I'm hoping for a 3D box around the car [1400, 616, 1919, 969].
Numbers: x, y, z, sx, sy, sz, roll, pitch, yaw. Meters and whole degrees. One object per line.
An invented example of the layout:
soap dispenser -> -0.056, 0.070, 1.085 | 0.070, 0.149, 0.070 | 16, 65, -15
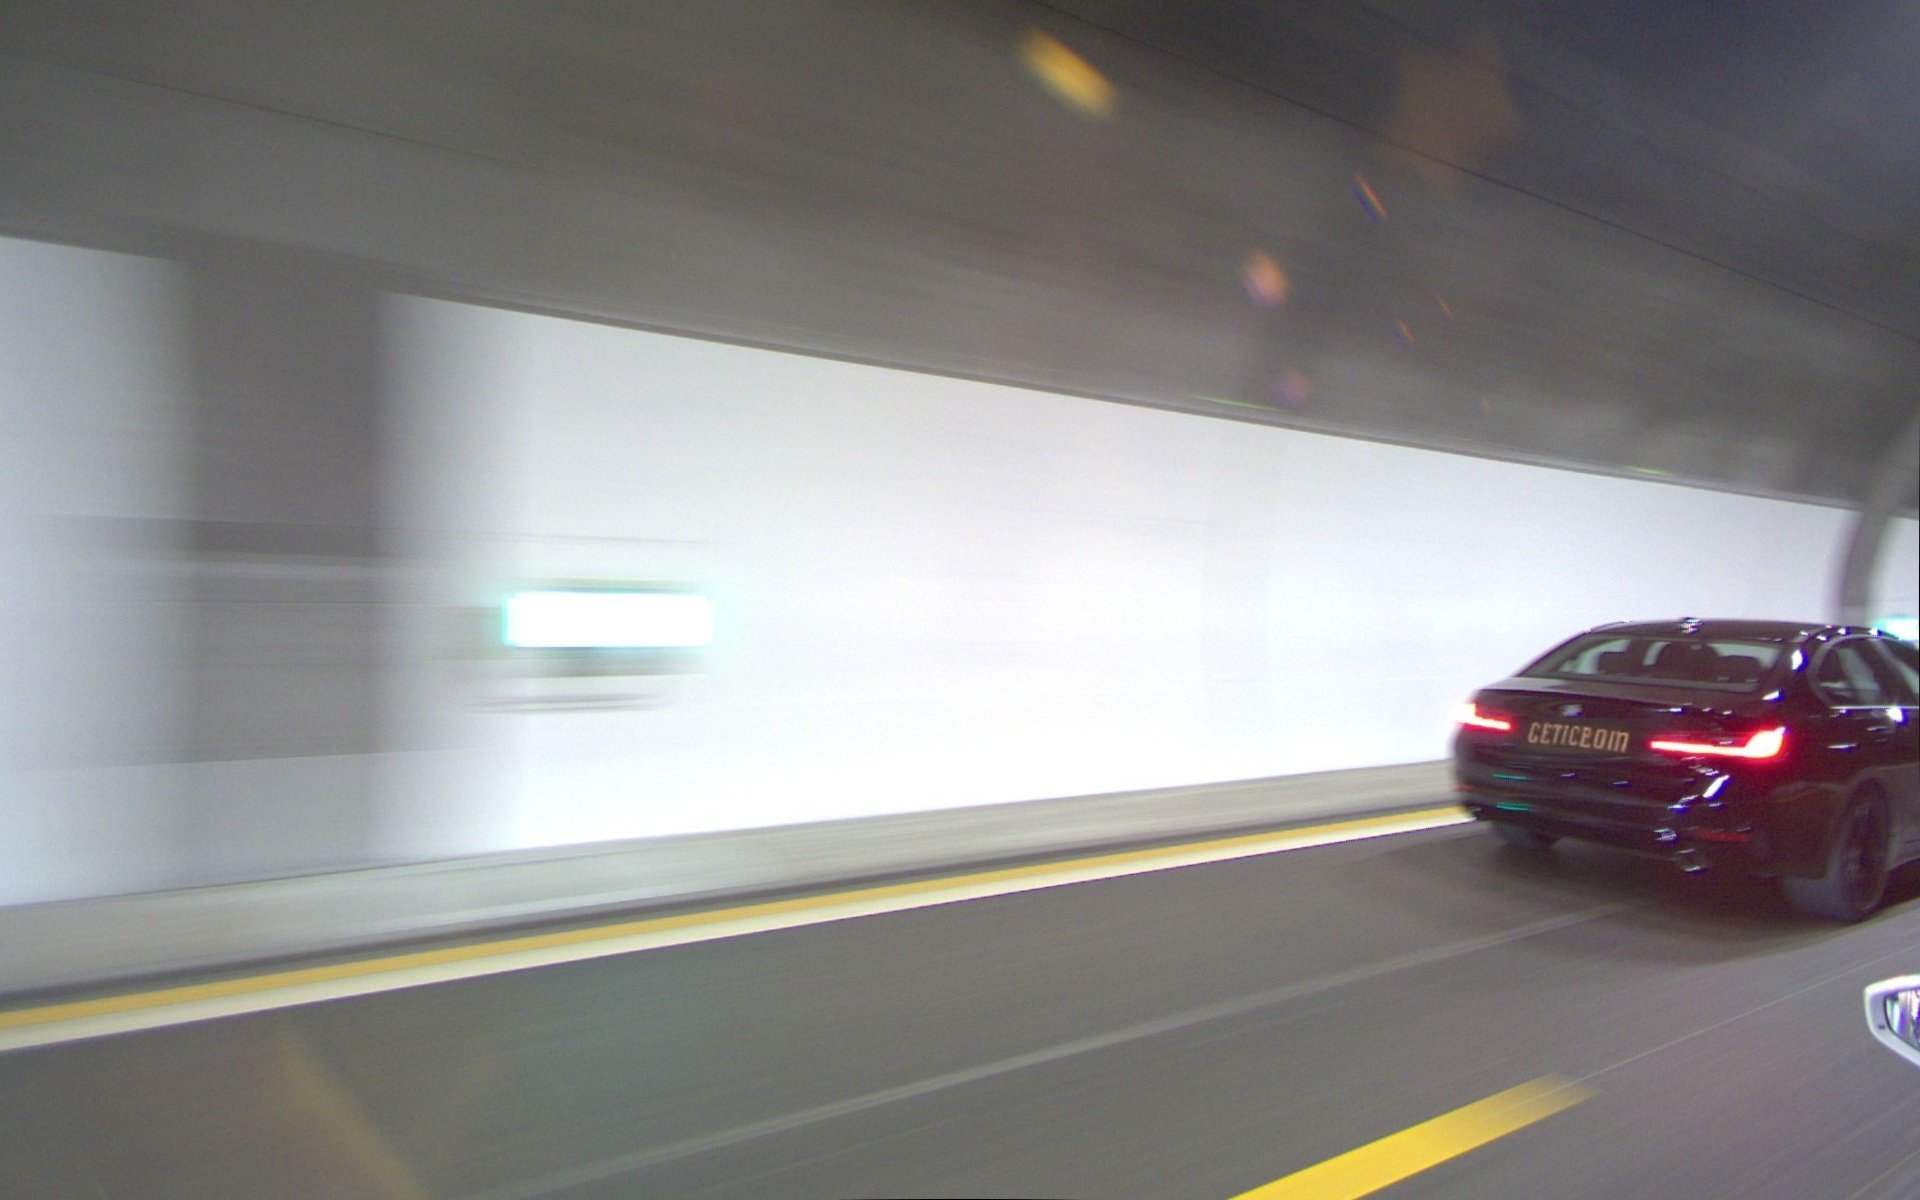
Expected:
car -> 5.073, 0.866, 6.221 | 4.824, 1.457, 1.770 | 1, 0, -30
